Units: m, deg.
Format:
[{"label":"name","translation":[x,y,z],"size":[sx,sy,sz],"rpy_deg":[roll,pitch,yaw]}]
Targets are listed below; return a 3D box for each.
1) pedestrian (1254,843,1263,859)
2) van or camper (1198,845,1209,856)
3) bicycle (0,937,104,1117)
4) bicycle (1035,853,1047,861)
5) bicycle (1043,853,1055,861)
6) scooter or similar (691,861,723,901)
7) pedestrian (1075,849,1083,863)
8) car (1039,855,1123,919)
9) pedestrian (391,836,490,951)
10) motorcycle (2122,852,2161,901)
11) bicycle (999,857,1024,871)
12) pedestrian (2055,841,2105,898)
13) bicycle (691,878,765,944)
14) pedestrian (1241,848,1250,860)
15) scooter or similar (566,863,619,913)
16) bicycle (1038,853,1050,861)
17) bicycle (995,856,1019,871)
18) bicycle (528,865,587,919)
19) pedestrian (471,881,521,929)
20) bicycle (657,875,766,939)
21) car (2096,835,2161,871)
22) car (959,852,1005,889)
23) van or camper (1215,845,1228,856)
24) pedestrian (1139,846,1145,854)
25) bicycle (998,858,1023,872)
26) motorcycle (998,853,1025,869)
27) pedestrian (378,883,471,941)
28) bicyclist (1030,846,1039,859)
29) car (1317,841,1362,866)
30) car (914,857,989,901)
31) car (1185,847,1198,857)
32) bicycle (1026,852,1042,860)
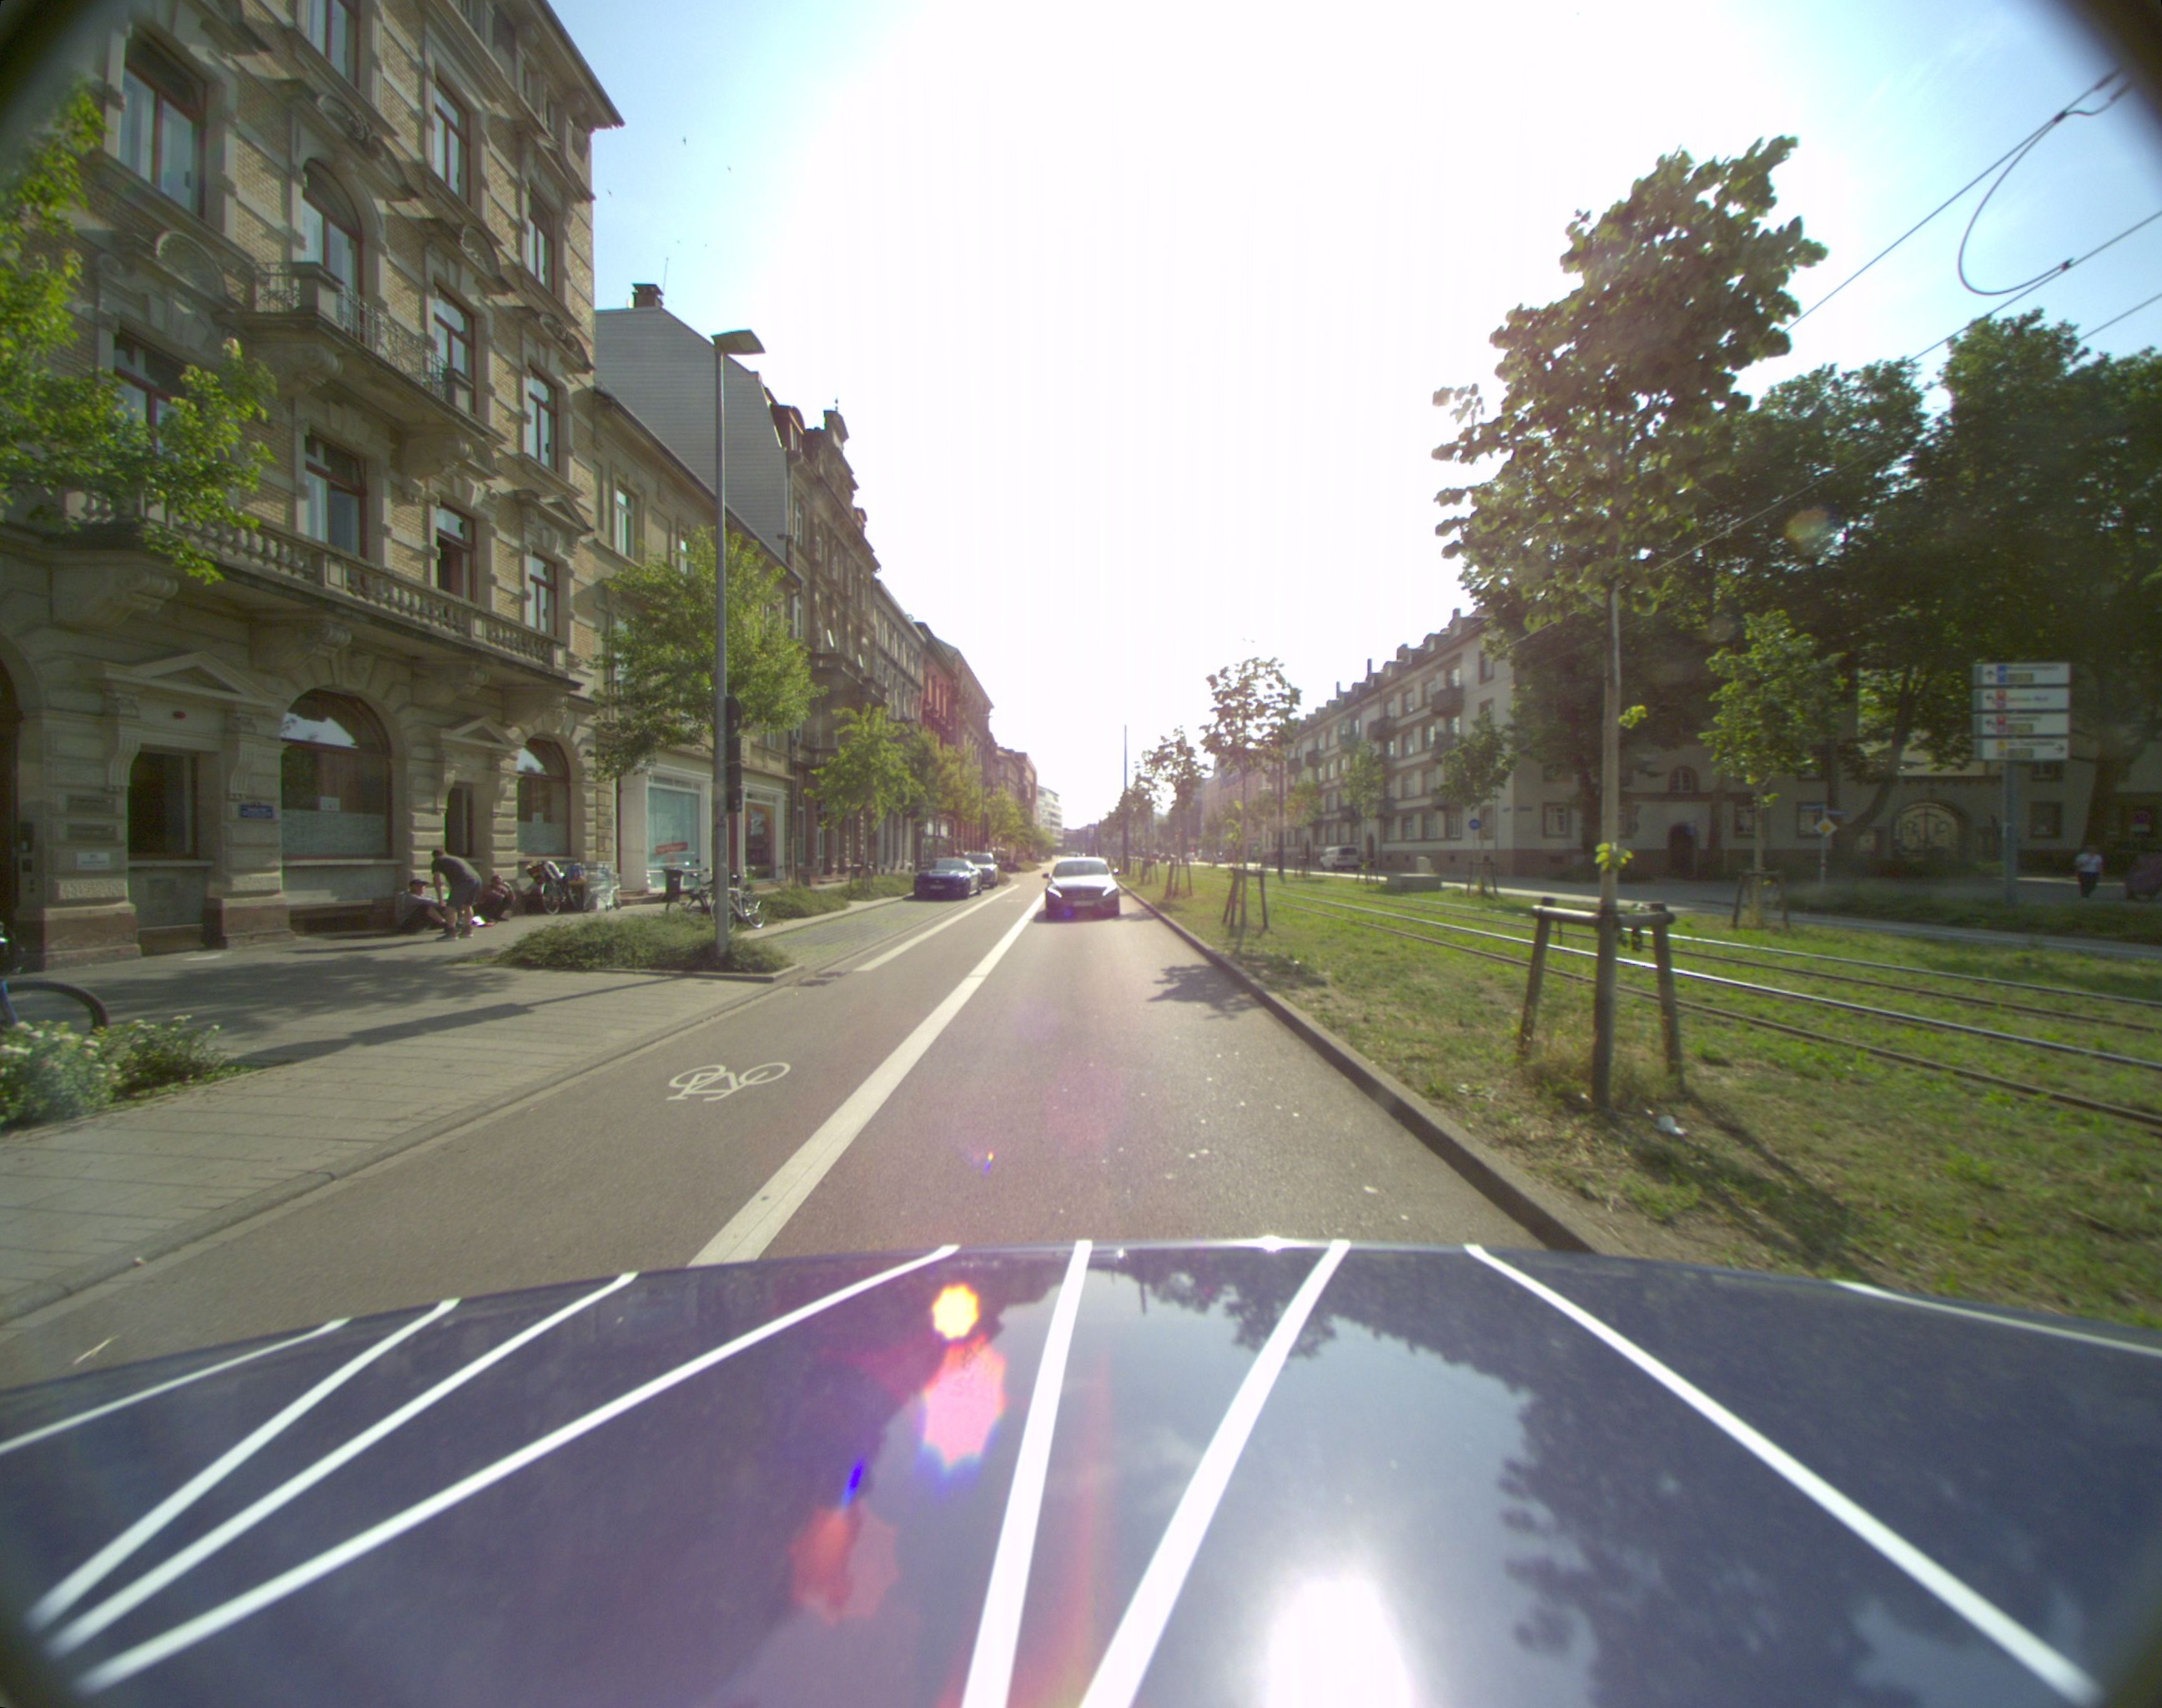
[{"label":"pedestrian","translation":[23.687,-0.375,101.411],"size":[0.844,2.056,1.157],"rpy_deg":[-1,1,1]},{"label":"van or camper","translation":[30.347,-0.840,188.730],"size":[1.998,2.786,5.352],"rpy_deg":[0,1,0]},{"label":"bicycle","translation":[-7.041,1.093,4.341],"size":[0.505,1.054,1.715],"rpy_deg":[2,0,15]},{"label":"bicycle","translation":[-6.254,0.467,118.909],"size":[1.763,1.081,0.671],"rpy_deg":[3,1,-23]},{"label":"bicycle","translation":[-5.084,0.504,121.757],"size":[1.761,1.081,0.610],"rpy_deg":[3,1,-9]},{"label":"scooter or similar","translation":[-10.832,0.772,22.011],"size":[0.289,1.127,1.089],"rpy_deg":[0,1,6]},{"label":"pedestrian","translation":[-0.296,0.296,96.703],"size":[0.992,1.795,0.864],"rpy_deg":[1,-1,-1]},{"label":"car","translation":[-0.002,0.768,19.722],"size":[1.907,1.384,4.235],"rpy_deg":[-1,1,0]},{"label":"pedestrian","translation":[-9.805,0.585,11.664],"size":[0.825,1.687,0.793],"rpy_deg":[2,1,-4]},{"label":"motorcycle","translation":[31.383,0.642,22.384],"size":[2.301,1.361,0.816],"rpy_deg":[-1,1,-37]},{"label":"bicycle","translation":[-5.202,0.740,56.879],"size":[1.789,1.048,0.372],"rpy_deg":[1,1,-1]},{"label":"pedestrian","translation":[30.040,0.453,22.852],"size":[0.737,1.668,0.676],"rpy_deg":[0,1,-16]},{"label":"bicycle","translation":[-6.537,1.026,14.157],"size":[0.494,1.087,1.826],"rpy_deg":[0,0,1]},{"label":"pedestrian","translation":[25.708,-0.047,118.475],"size":[1.073,1.857,0.862],"rpy_deg":[-1,1,-27]},{"label":"scooter or similar","translation":[-11.335,0.778,17.645],"size":[0.608,1.118,0.931],"rpy_deg":[0,1,0]},{"label":"bicycle","translation":[-5.582,0.475,115.589],"size":[1.756,1.081,0.583],"rpy_deg":[2,1,3]},{"label":"bicycle","translation":[-5.669,0.699,58.203],"size":[1.812,1.089,0.671],"rpy_deg":[1,1,-5]},{"label":"bicycle","translation":[-11.284,0.801,16.407],"size":[0.452,1.077,1.447],"rpy_deg":[0,1,-9]},{"label":"pedestrian","translation":[-10.910,0.943,14.177],"size":[0.572,0.850,0.457],"rpy_deg":[2,1,-5]},{"label":"bicycle","translation":[-7.279,1.015,15.047],"size":[0.453,1.076,1.881],"rpy_deg":[2,3,42]},{"label":"car","translation":[53.260,-0.039,37.099],"size":[1.998,1.739,4.000],"rpy_deg":[0,0,0]},{"label":"car","translation":[-4.544,0.704,35.249],"size":[1.774,1.579,4.246],"rpy_deg":[1,0,-3]},{"label":"van or camper","translation":[25.634,-0.573,139.133],"size":[1.934,1.956,4.001],"rpy_deg":[0,0,4]},{"label":"pedestrian","translation":[13.567,-0.916,169.495],"size":[0.787,1.736,0.833],"rpy_deg":[1,1,-36]},{"label":"bicycle","translation":[-5.209,0.822,56.480],"size":[1.789,1.048,0.372],"rpy_deg":[1,1,-1]},{"label":"motorcycle","translation":[-5.703,0.584,62.316],"size":[2.046,1.279,0.703],"rpy_deg":[2,0,-35]},{"label":"pedestrian","translation":[-10.761,0.945,12.481],"size":[0.880,0.871,0.711],"rpy_deg":[2,1,-3]},{"label":"bicyclist","translation":[-5.720,-0.181,93.184],"size":[0.929,1.473,0.586],"rpy_deg":[2,1,22]},{"label":"car","translation":[21.103,-0.060,62.249],"size":[1.998,1.907,5.153],"rpy_deg":[-2,0,1]},{"label":"car","translation":[-4.585,0.821,27.489],"size":[1.740,1.388,4.715],"rpy_deg":[1,0,2]},{"label":"car","translation":[22.208,-0.364,152.773],"size":[1.998,1.884,5.047],"rpy_deg":[0,0,2]},{"label":"bicycle","translation":[-5.763,0.232,93.124],"size":[1.780,0.947,0.508],"rpy_deg":[2,1,22]}]
